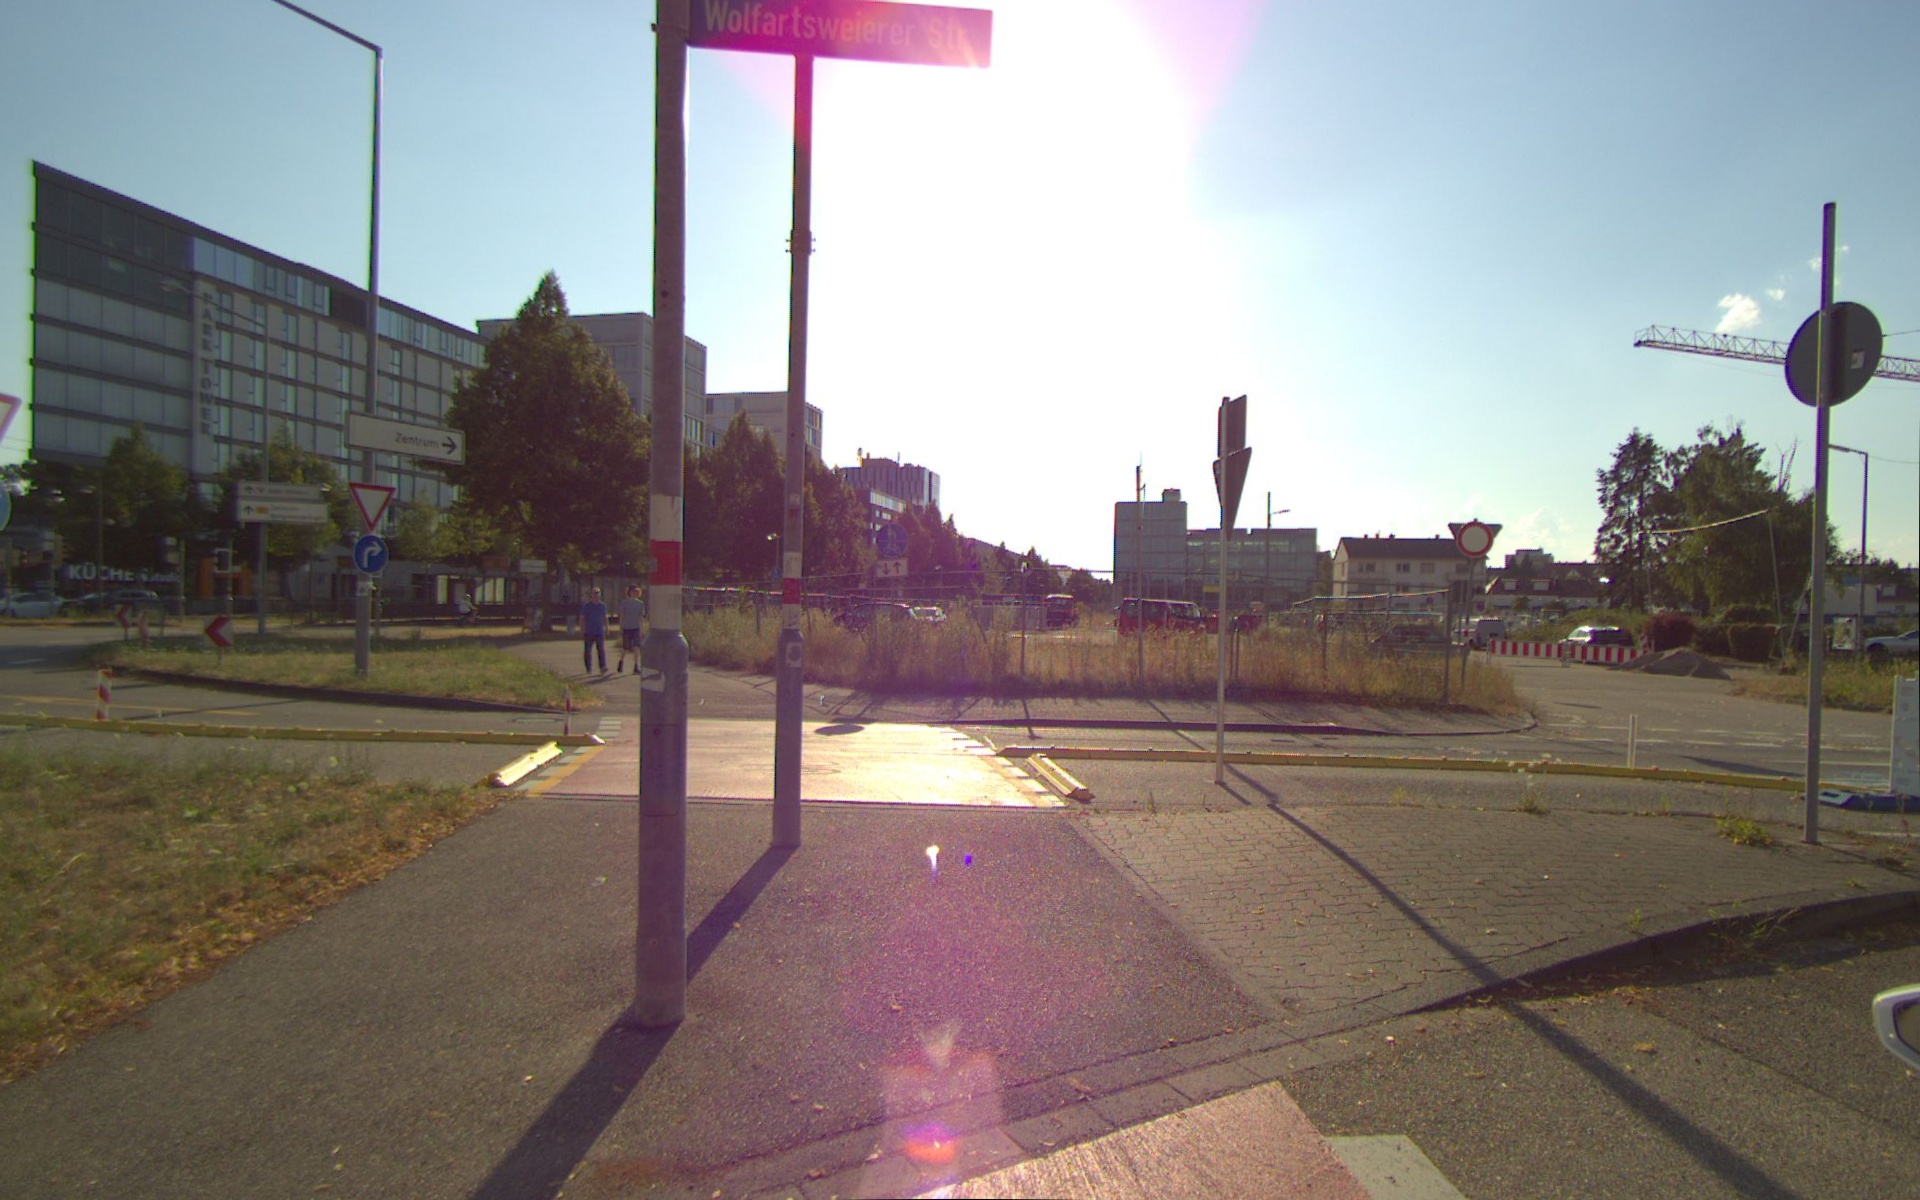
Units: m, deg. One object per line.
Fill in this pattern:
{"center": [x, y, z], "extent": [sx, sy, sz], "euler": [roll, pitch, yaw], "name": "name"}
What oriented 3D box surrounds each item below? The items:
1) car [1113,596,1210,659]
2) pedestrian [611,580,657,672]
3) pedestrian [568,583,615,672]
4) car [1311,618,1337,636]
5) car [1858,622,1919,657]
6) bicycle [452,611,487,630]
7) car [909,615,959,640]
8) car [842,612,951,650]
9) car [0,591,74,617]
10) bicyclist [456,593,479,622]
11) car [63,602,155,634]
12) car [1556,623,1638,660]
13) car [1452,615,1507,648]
{"center": [7.298, 0.955, 35.953], "extent": [1.963, 2.040, 5.306], "euler": [1, -1, 28], "name": "car"}
{"center": [-6.561, 0.522, 20.216], "extent": [0.750, 1.799, 0.767], "euler": [1, 0, -26], "name": "pedestrian"}
{"center": [-7.328, 0.542, 19.975], "extent": [0.776, 1.731, 0.807], "euler": [1, 0, -26], "name": "pedestrian"}
{"center": [40.866, 3.017, 112.861], "extent": [2.109, 1.862, 4.364], "euler": [1, 0, 11], "name": "car"}
{"center": [44.918, 1.865, 47.070], "extent": [1.982, 1.550, 3.956], "euler": [2, -1, -38], "name": "car"}
{"center": [-25.292, 1.050, 51.844], "extent": [0.834, 0.941, 1.720], "euler": [1, 0, 6], "name": "bicycle"}
{"center": [-1.289, 1.396, 51.466], "extent": [1.305, 1.182, 3.936], "euler": [1, 0, 18], "name": "car"}
{"center": [-2.519, 1.219, 39.851], "extent": [4.163, 1.381, 1.999], "euler": [1, 0, -4], "name": "car"}
{"center": [-48.238, 0.205, 51.790], "extent": [1.625, 1.256, 3.505], "euler": [1, -1, 16], "name": "car"}
{"center": [-25.311, 0.384, 51.634], "extent": [0.853, 1.428, 0.629], "euler": [2, 0, 5], "name": "bicyclist"}
{"center": [-44.368, 0.943, 52.433], "extent": [1.533, 1.595, 3.337], "euler": [1, -1, 24], "name": "car"}
{"center": [29.170, 1.866, 46.129], "extent": [1.959, 1.572, 4.002], "euler": [1, -1, 13], "name": "car"}
{"center": [32.351, 1.926, 62.655], "extent": [1.830, 1.973, 4.003], "euler": [1, -1, 9], "name": "car"}
